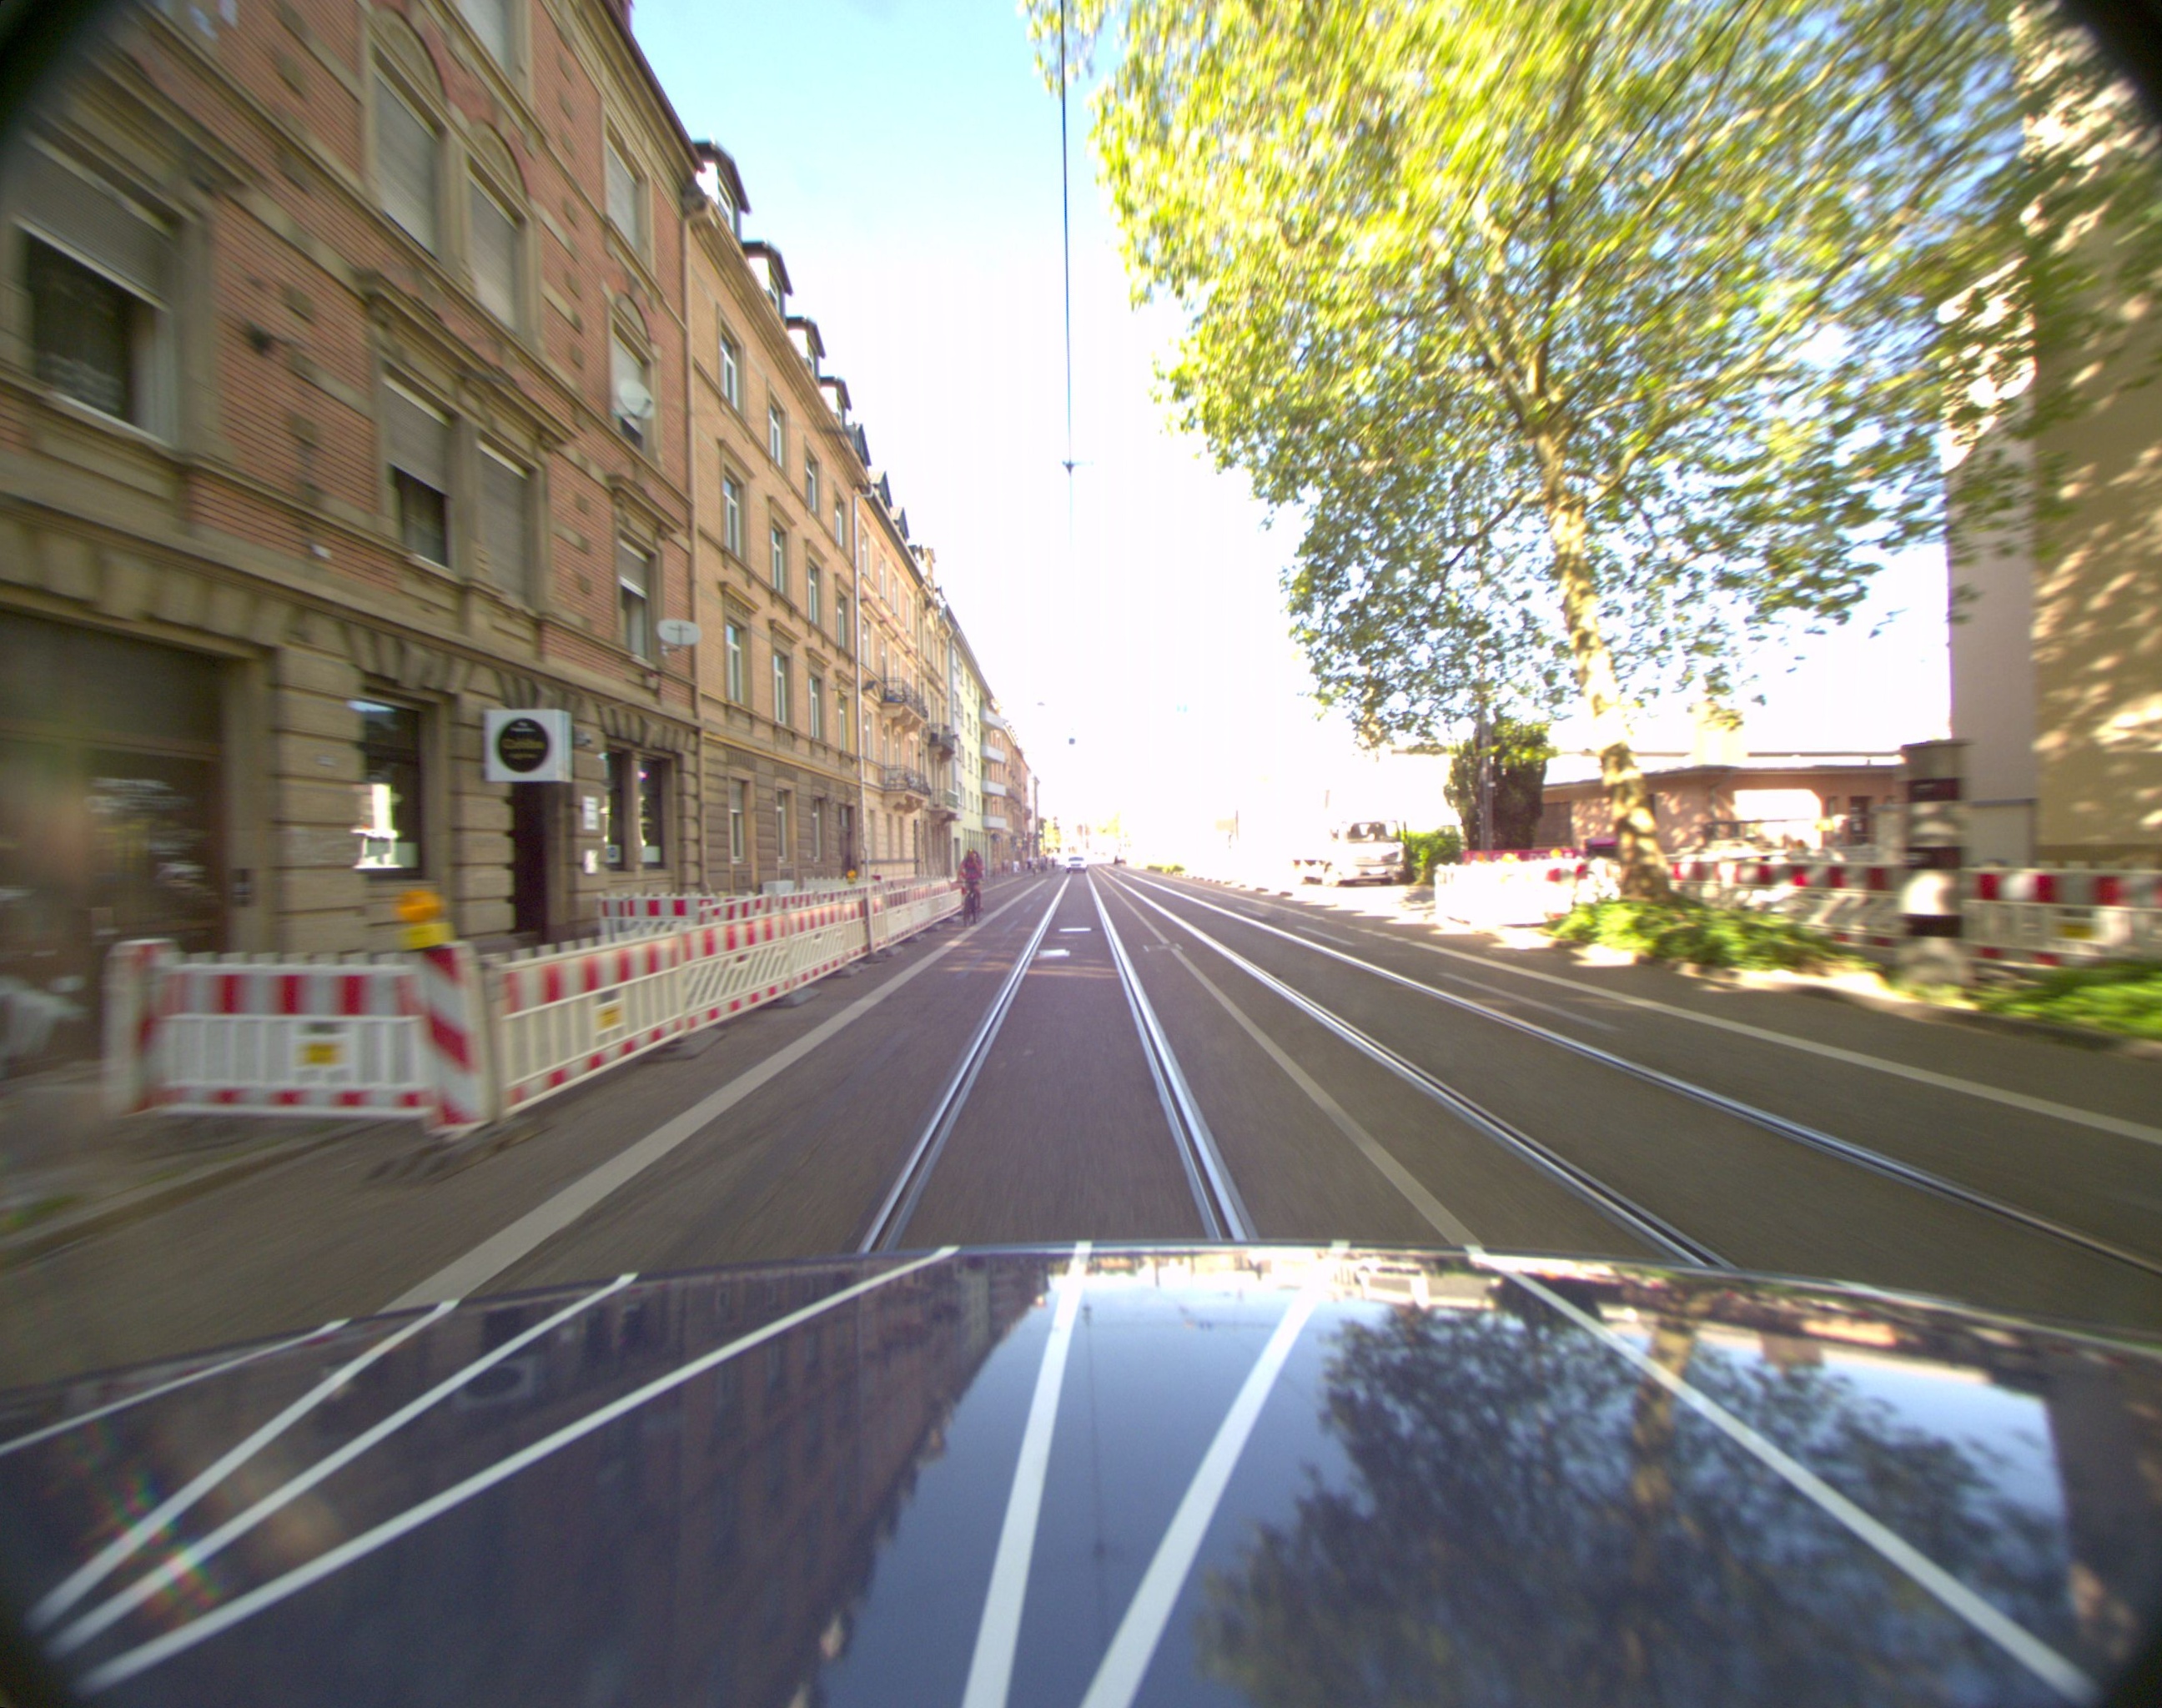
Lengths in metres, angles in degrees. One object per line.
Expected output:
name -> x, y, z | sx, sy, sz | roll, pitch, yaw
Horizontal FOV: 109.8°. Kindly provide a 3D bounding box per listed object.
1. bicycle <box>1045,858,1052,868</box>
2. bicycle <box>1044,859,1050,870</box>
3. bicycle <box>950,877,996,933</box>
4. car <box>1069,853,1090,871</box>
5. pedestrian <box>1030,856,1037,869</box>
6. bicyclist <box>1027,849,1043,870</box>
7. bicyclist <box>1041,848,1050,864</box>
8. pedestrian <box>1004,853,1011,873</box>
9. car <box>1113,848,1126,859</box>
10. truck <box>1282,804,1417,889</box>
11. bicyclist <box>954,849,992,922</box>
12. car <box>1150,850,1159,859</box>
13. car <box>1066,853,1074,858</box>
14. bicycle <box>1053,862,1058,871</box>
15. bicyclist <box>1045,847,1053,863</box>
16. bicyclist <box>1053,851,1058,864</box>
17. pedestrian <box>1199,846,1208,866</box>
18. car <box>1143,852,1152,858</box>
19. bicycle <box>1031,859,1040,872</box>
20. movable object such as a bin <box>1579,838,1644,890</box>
bicycle -> -3.528, 0.972, 82.610 | 0.533, 1.111, 1.933 | -1, 1, 1
bicycle -> -3.483, 1.070, 77.394 | 0.387, 1.063, 1.934 | -2, 1, 2
bicycle -> -2.559, 1.186, 18.305 | 0.682, 1.108, 2.706 | -3, 1, 0
car -> -0.195, 0.719, 72.644 | 1.869, 1.635, 4.396 | -2, 0, -2
pedestrian -> -5.823, 1.005, 93.261 | 0.800, 1.596, 0.652 | -2, 1, 2
bicyclist -> -3.906, 0.449, 64.475 | 0.681, 1.674, 1.122 | -2, 1, 30
bicyclist -> -3.574, 0.203, 77.266 | 0.784, 1.584, 0.886 | -2, 0, 2
pedestrian -> -6.278, 0.781, 65.090 | 0.554, 1.691, 0.473 | 0, 1, 0
car -> 6.207, -0.065, 122.672 | 1.763, 1.687, 4.143 | -3, 1, 1
truck -> 10.190, -0.302, 29.616 | 2.545, 2.814, 6.373 | -3, 1, -3
bicyclist -> -2.594, 0.739, 18.382 | 0.669, 1.687, 1.043 | -3, 1, -1
car -> 14.876, 0.047, 154.192 | 1.803, 1.709, 4.417 | -1, 1, 6
car -> -3.624, 0.351, 239.827 | 1.687, 1.523, 3.910 | -3, 1, -13
bicycle -> -3.157, 1.559, 95.255 | 0.533, 1.111, 1.933 | -3, 1, 0
bicyclist -> -3.482, 0.101, 82.483 | 0.625, 1.604, 0.981 | -3, 1, 4
bicyclist -> -3.222, 0.439, 95.633 | 0.551, 1.604, 0.953 | -3, 1, 1
pedestrian -> 11.077, 0.155, 68.691 | 0.528, 1.754, 1.051 | -3, 1, 0
car -> 15.710, 0.227, 179.489 | 1.654, 1.470, 3.970 | 0, 0, 1
bicycle -> -3.846, 0.989, 64.659 | 0.533, 1.111, 1.934 | -3, -1, 0
movable object such as a bin -> 15.045, 0.270, 21.597 | 1.137, 1.397, 1.288 | -3, 1, 16
